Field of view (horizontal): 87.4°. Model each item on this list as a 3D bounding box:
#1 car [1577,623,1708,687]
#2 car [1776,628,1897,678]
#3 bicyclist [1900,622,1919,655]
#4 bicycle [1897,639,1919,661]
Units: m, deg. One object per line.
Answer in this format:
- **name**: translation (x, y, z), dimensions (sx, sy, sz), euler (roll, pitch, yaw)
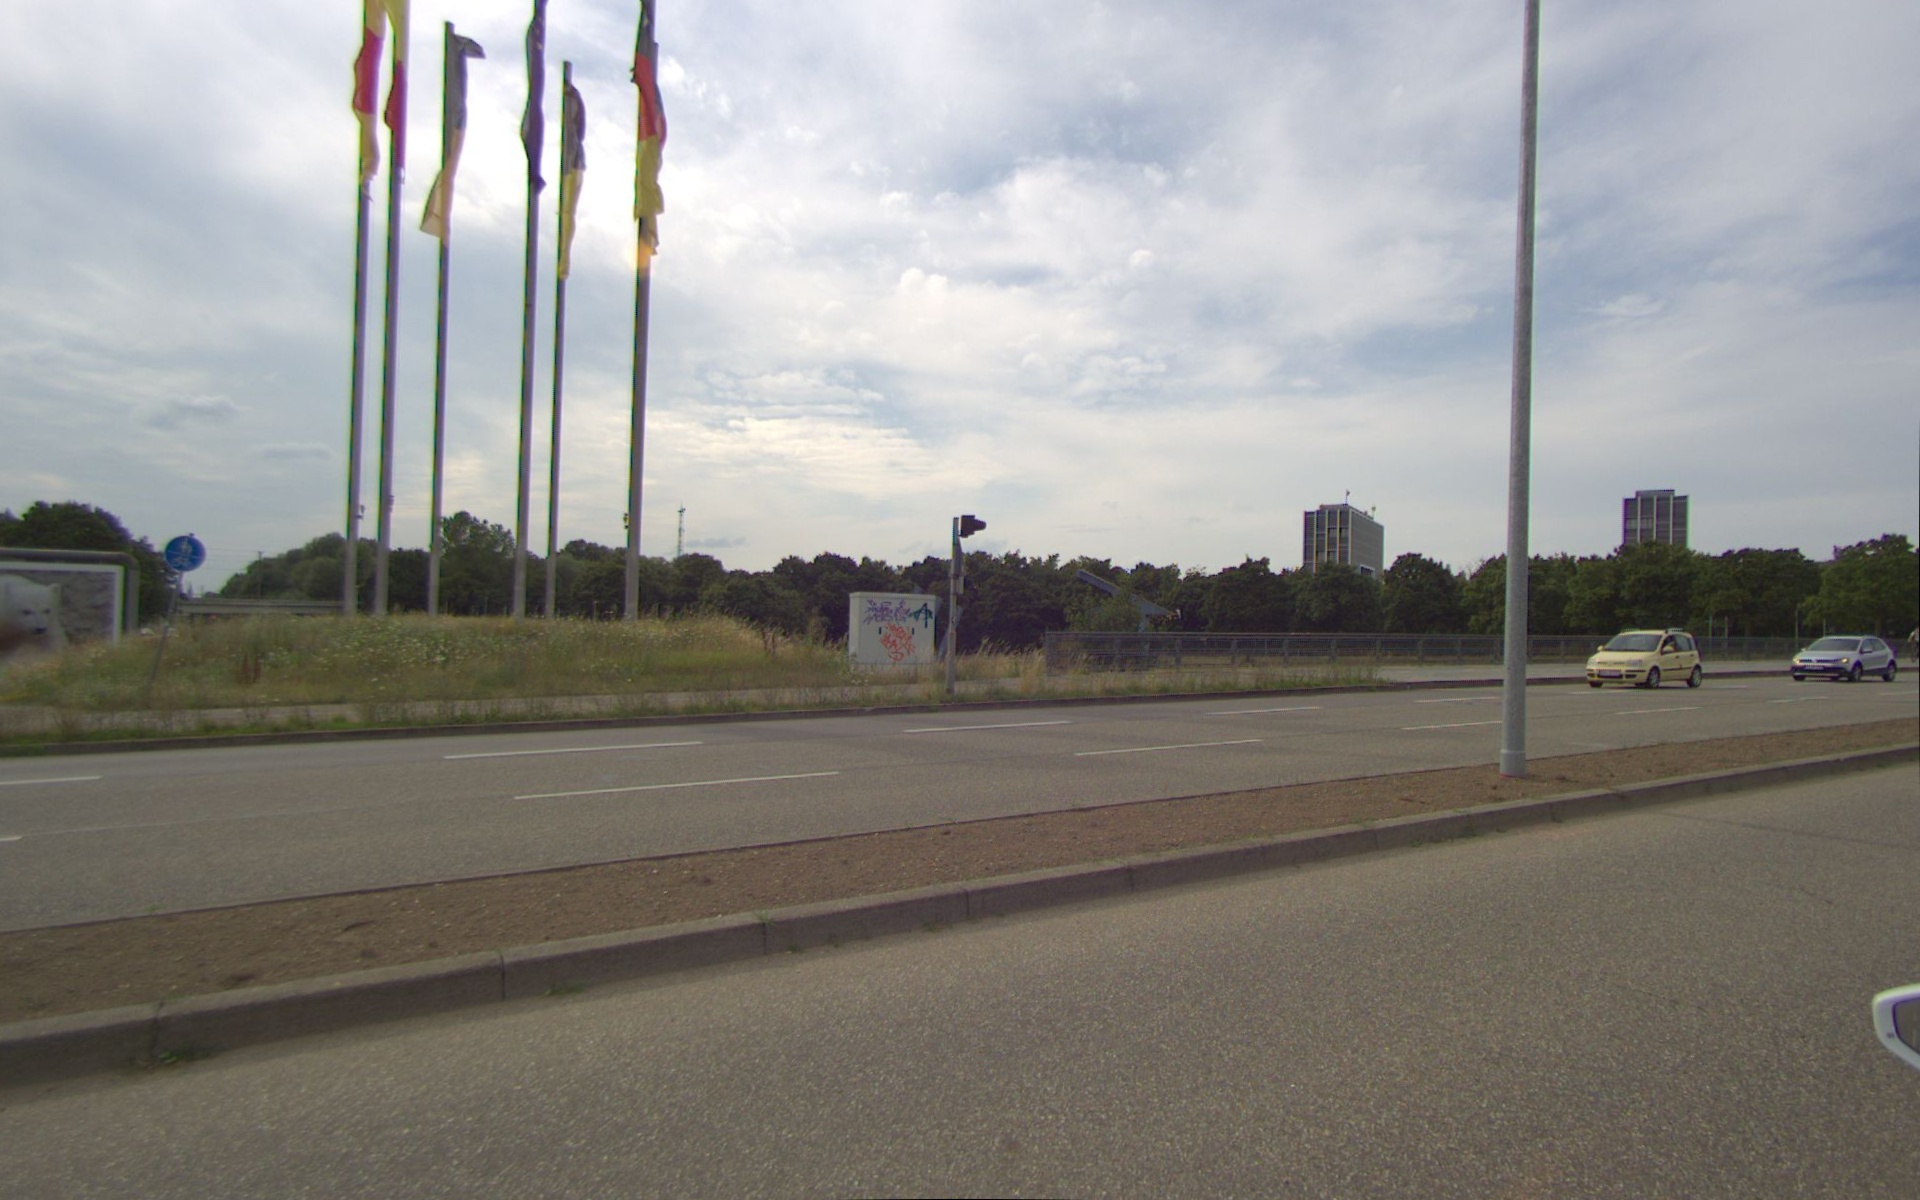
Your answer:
- **car**: translation (18.416, 1.444, 27.088), dimensions (3.648, 1.598, 1.541), euler (1, -2, -31)
- **car**: translation (28.613, 1.705, 32.780), dimensions (3.965, 1.535, 1.643), euler (1, -2, -28)
- **bicyclist**: translation (48.604, 1.975, 51.205), dimensions (0.966, 1.648, 0.790), euler (1, 0, -34)
- **bicycle**: translation (48.506, 2.537, 51.154), dimensions (2.038, 1.063, 0.702), euler (2, 0, -34)
